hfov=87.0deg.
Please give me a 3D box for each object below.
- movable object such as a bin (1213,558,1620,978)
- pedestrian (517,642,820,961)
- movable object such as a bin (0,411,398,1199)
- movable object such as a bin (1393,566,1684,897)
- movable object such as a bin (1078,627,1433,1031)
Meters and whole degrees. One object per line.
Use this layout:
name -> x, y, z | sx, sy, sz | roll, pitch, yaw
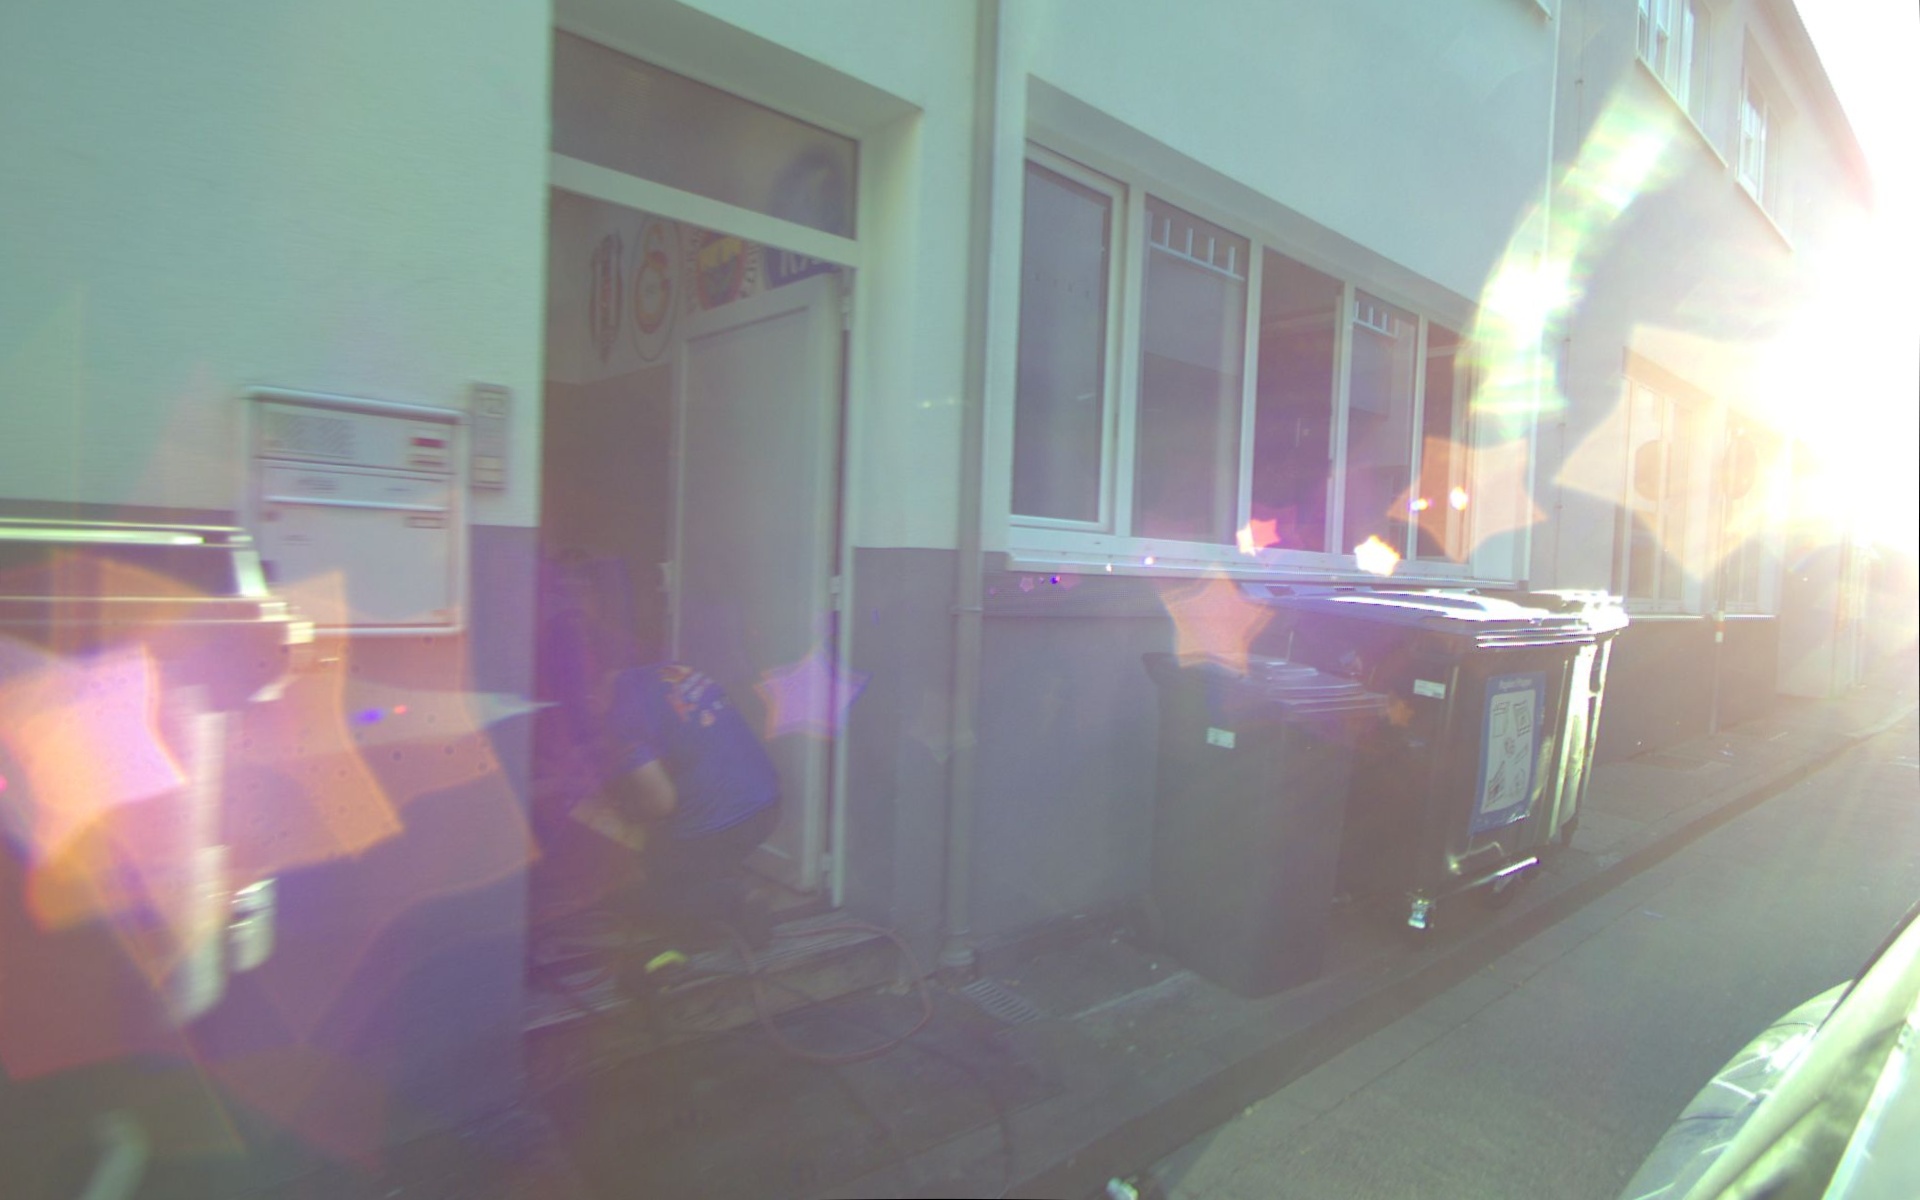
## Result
movable object such as a bin -> 1.942, 0.565, 4.292 | 1.320, 1.383, 1.066 | 0, 4, -44
pedestrian -> -0.918, 0.562, 3.196 | 0.708, 0.820, 0.609 | 2, 0, -42
movable object such as a bin -> -1.563, 0.405, 1.363 | 1.266, 1.320, 0.838 | 1, 4, -38
movable object such as a bin -> 2.987, 0.563, 5.194 | 0.937, 1.383, 1.321 | 6, 4, 42
movable object such as a bin -> 1.012, 0.689, 3.522 | 0.726, 1.087, 0.871 | 1, 4, -43
